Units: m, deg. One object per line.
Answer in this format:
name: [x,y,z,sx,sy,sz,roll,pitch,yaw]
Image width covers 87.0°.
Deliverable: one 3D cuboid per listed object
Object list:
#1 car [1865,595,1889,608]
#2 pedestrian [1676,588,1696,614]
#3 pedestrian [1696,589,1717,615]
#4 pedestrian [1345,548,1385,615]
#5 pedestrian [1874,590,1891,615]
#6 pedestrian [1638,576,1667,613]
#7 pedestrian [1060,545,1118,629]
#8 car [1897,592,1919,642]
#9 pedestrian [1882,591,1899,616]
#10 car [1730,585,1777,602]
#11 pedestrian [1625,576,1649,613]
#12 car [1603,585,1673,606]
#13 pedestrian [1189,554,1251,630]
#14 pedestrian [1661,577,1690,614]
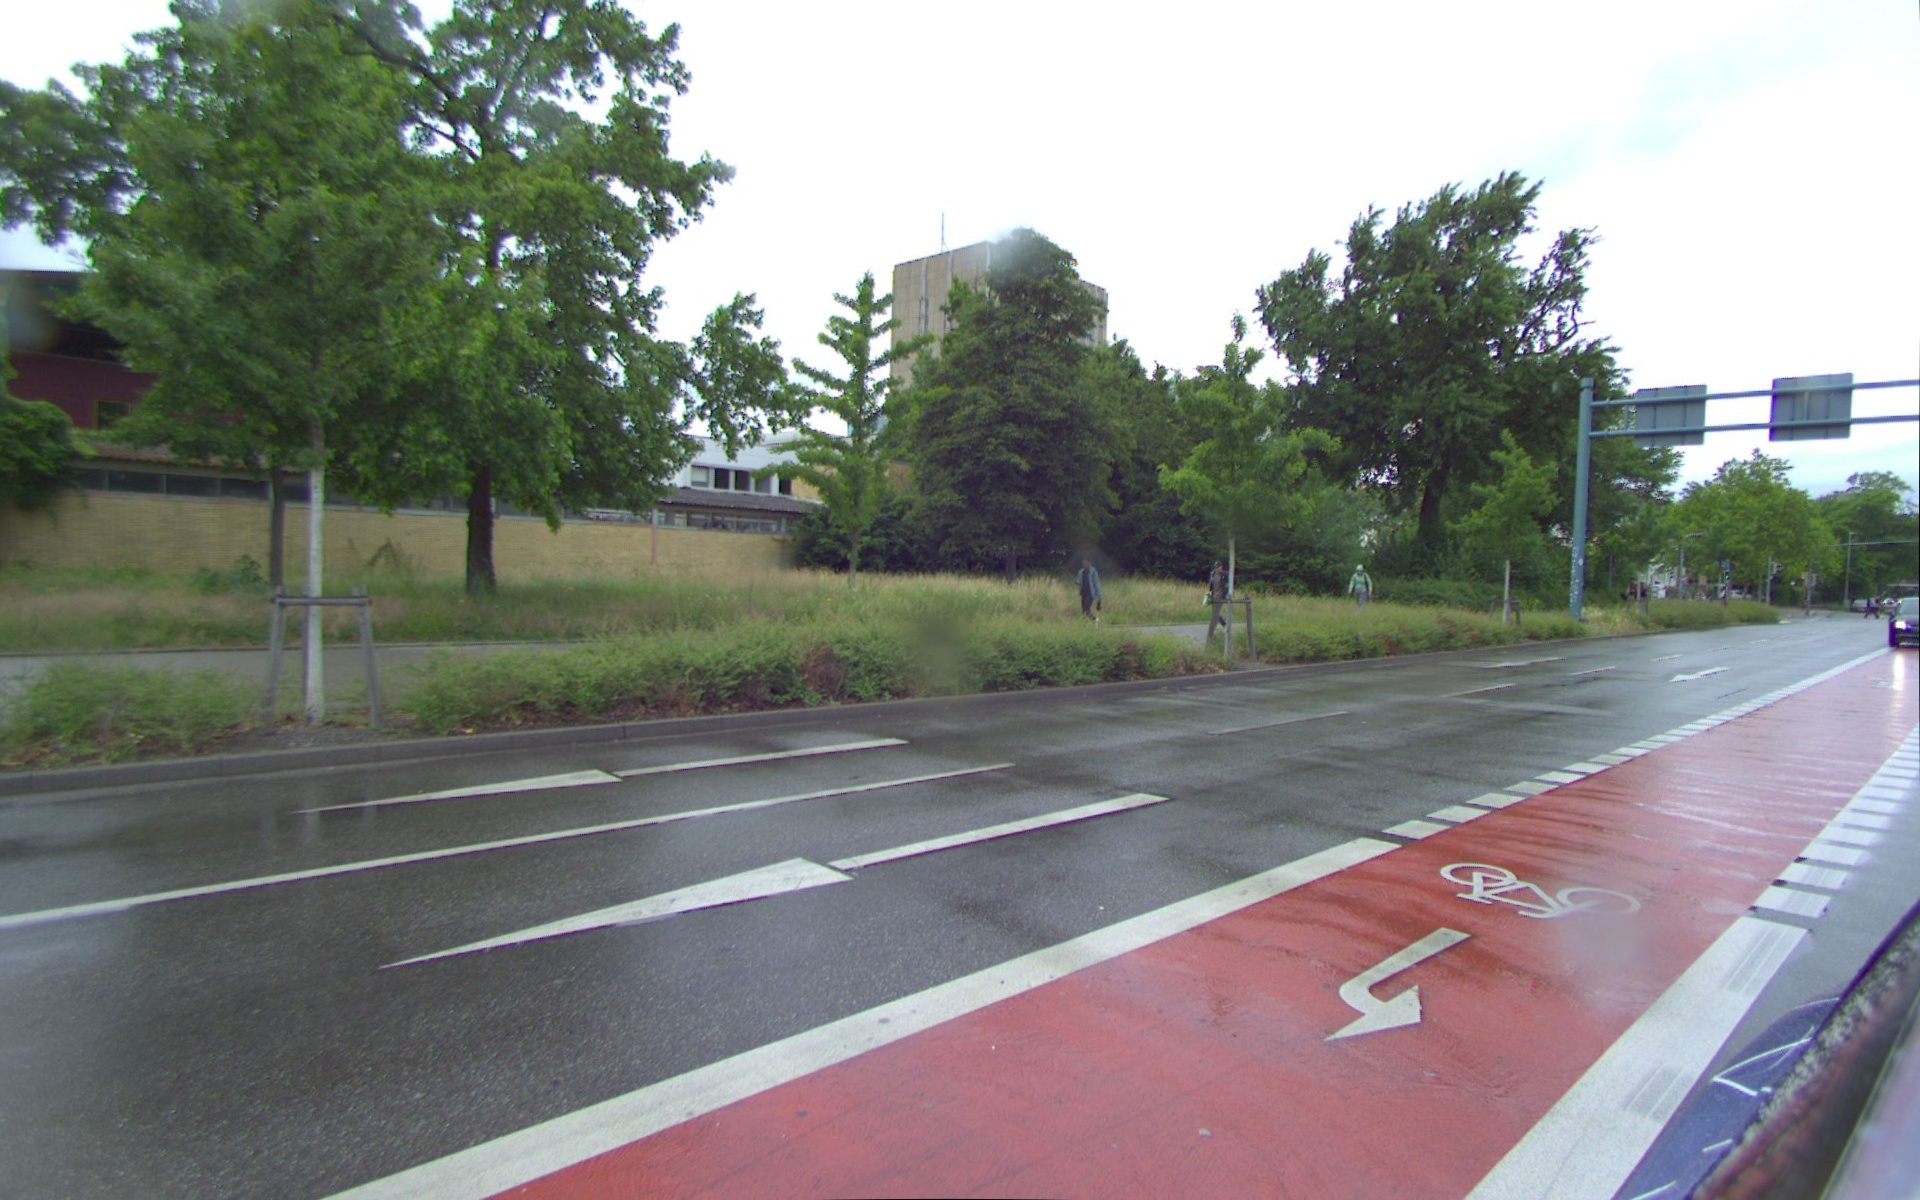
car: [96.340,0.113,106.318,1.657,1.282,4.042,4,3,44]
pedestrian: [47.890,0.072,66.731,0.869,1.627,0.856,3,2,26]
pedestrian: [48.811,0.116,66.212,0.868,1.627,0.857,3,2,24]
pedestrian: [12.615,-0.587,31.537,0.813,2.038,0.793,1,2,-38]
pedestrian: [70.408,0.212,77.238,0.783,1.847,0.616,3,2,37]
pedestrian: [34.043,-0.269,49.736,0.814,1.725,0.935,4,-2,-39]
pedestrian: [2.892,-0.299,22.781,0.813,1.819,0.936,1,2,-37]
car: [28.478,0.494,29.459,1.657,1.381,4.042,4,2,44]
pedestrian: [71.436,0.284,77.682,0.782,1.847,0.617,3,2,36]
car: [97.508,-0.852,124.400,4.405,1.895,1.615,3,2,39]
pedestrian: [34.802,-0.297,52.048,0.835,1.882,0.732,1,2,-38]
car: [53.389,-0.397,79.720,4.375,1.353,1.747,4,5,43]
pedestrian: [6.200,-0.197,24.142,1.026,1.769,0.936,1,2,-38]
pedestrian: [34.613,-0.234,48.961,0.814,1.743,0.935,4,-2,-39]
